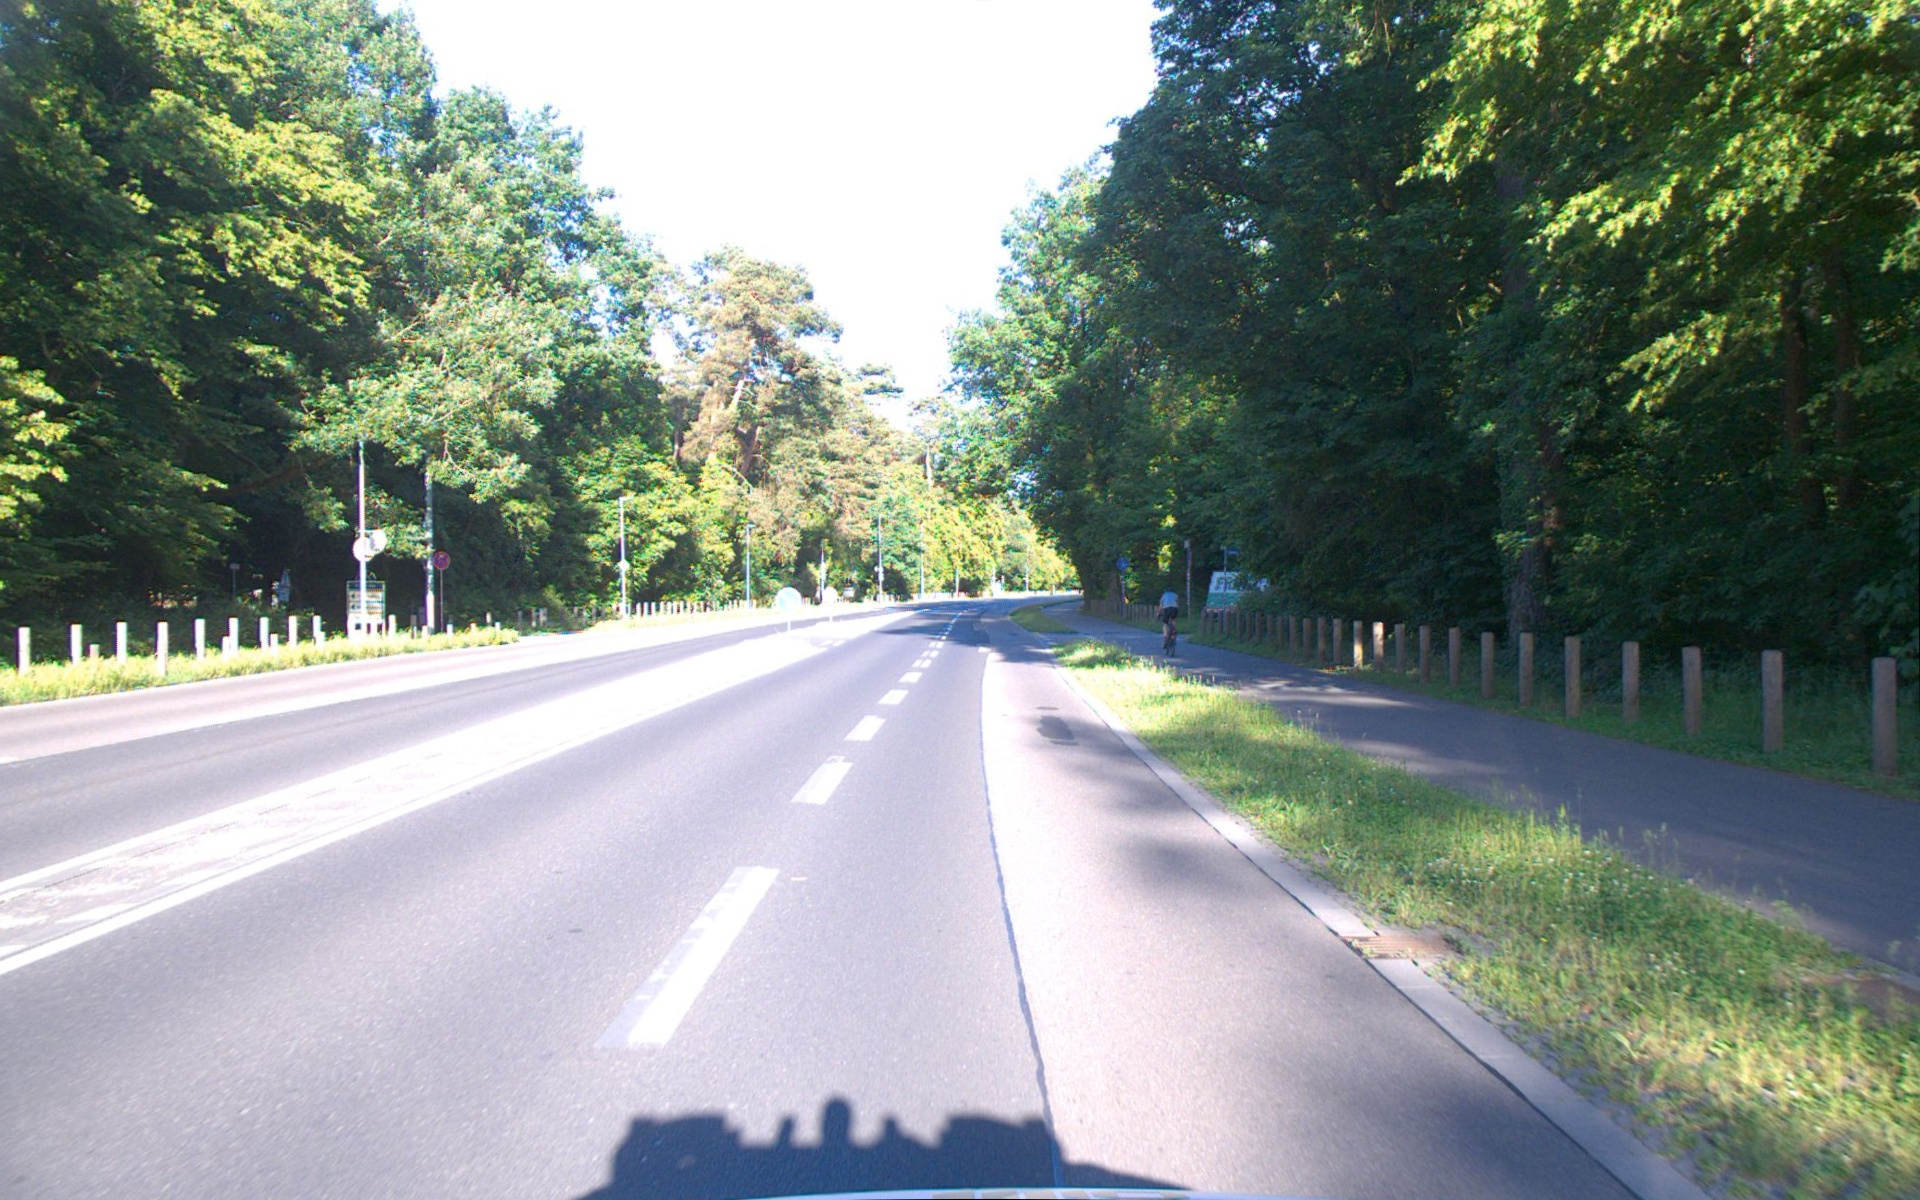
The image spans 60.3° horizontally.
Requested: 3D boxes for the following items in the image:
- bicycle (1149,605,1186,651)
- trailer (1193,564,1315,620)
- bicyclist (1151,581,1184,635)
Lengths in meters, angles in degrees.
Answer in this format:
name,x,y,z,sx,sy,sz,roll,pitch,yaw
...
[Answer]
name,x,y,z,sx,sy,sz,roll,pitch,yaw
bicycle,5.136,0.681,40.961,0.697,1.074,2.053,0,0,1
trailer,11.090,-0.299,62.523,4.151,2.057,1.989,-1,0,42
bicyclist,5.139,0.192,40.941,0.697,1.311,1.104,0,0,1
